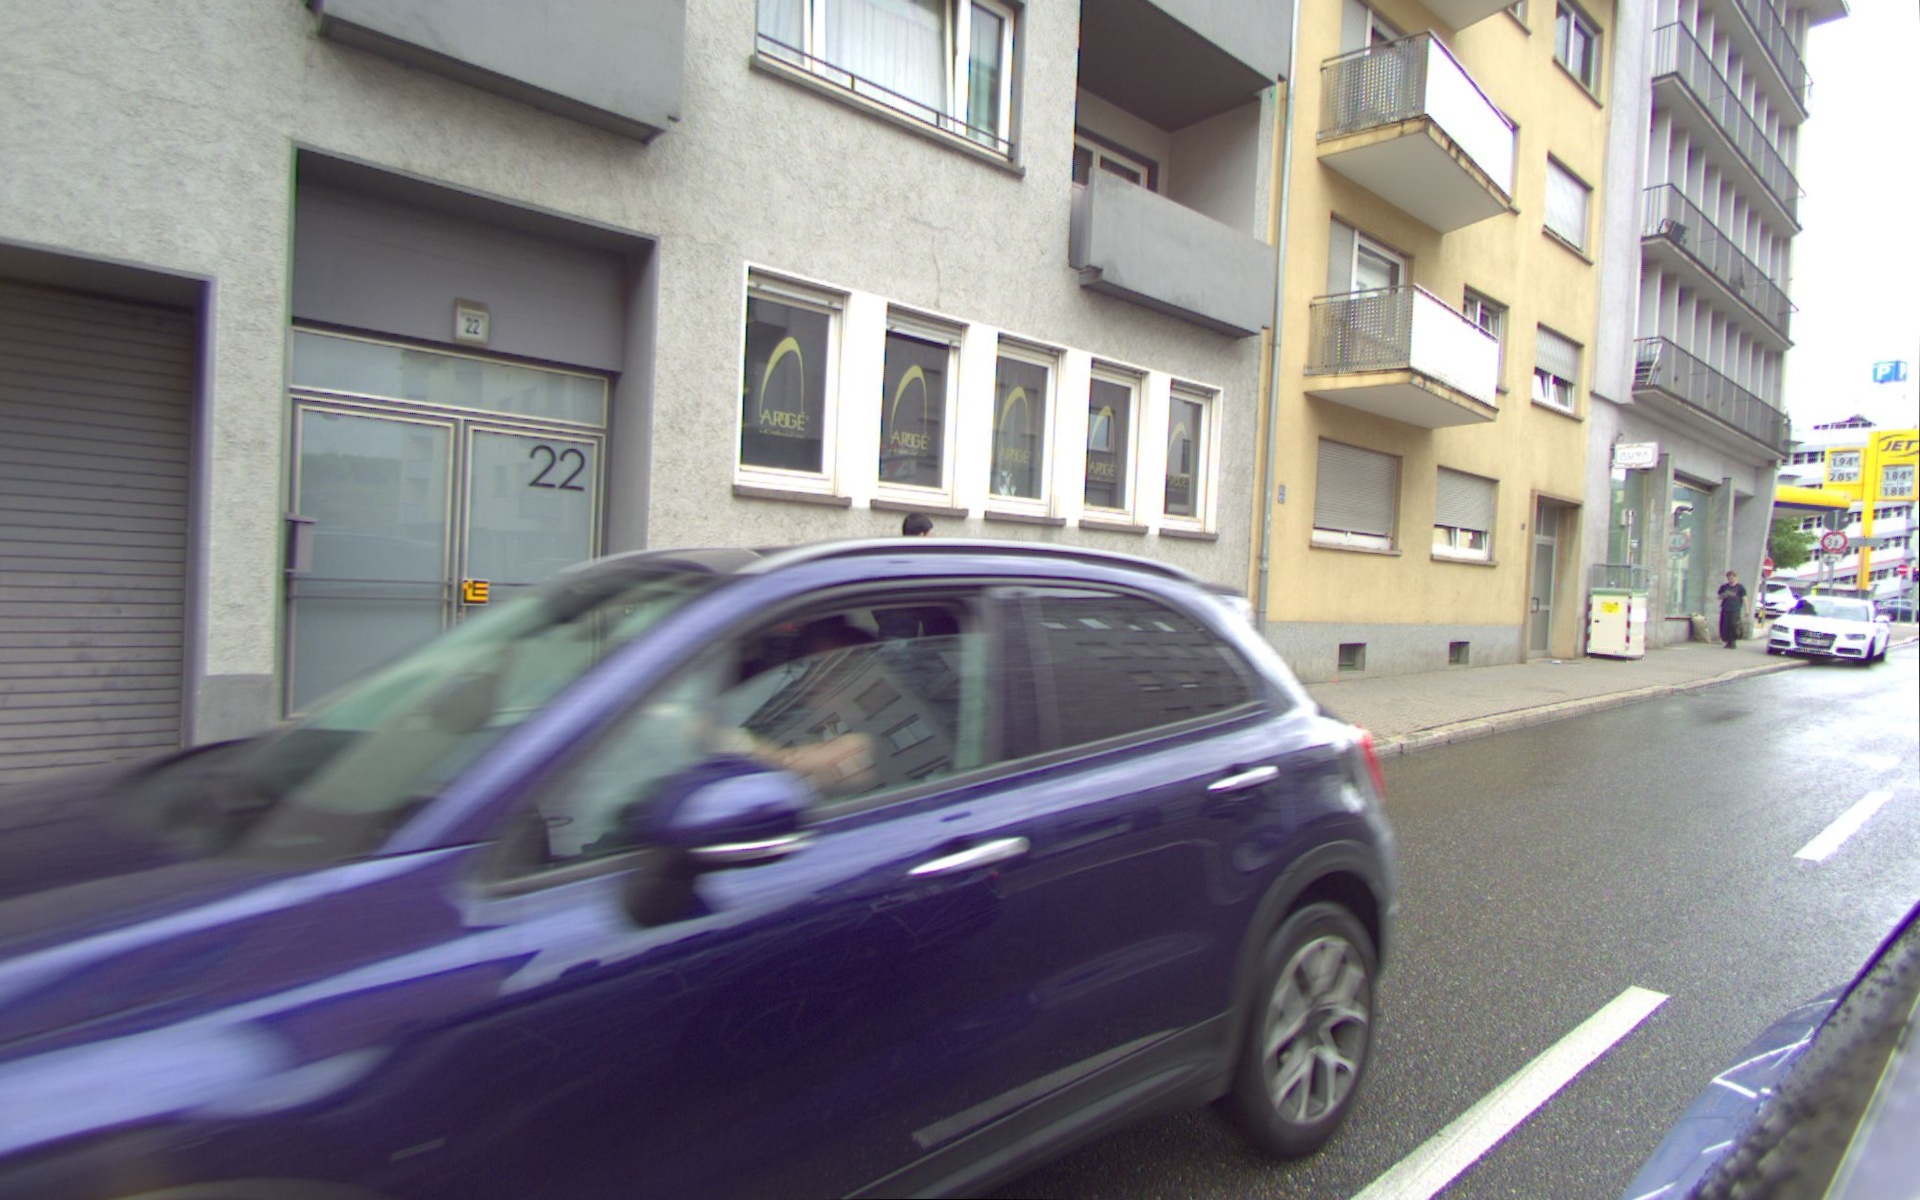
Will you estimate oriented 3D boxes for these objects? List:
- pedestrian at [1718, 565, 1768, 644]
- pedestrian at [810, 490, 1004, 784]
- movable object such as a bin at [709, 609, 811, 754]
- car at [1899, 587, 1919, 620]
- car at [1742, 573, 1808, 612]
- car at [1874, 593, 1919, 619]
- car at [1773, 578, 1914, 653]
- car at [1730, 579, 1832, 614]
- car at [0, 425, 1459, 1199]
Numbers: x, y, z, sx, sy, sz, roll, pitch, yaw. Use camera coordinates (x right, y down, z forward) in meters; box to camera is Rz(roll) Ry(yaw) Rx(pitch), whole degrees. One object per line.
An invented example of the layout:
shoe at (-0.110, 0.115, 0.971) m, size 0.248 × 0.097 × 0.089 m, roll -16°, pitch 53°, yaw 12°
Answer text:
pedestrian at (18.346, 0.094, 23.706) m, size 0.872 × 1.777 × 0.679 m, roll 0°, pitch 2°, yaw -39°
pedestrian at (-0.348, 0.204, 6.754) m, size 1.038 × 1.799 × 0.644 m, roll 0°, pitch 5°, yaw -41°
movable object such as a bin at (-1.473, 0.576, 7.449) m, size 0.506 × 0.967 × 0.541 m, roll 0°, pitch 5°, yaw -40°
car at (54.034, 0.289, 54.989) m, size 1.960 × 1.782 × 4.005 m, roll 1°, pitch 3°, yaw -31°
car at (33.089, -0.304, 41.060) m, size 1.766 × 1.493 × 3.937 m, roll 0°, pitch 0°, yaw 43°
car at (62.587, 0.446, 66.032) m, size 3.956 × 1.526 × 1.725 m, roll 3°, pitch 2°, yaw 23°
car at (20.125, 0.296, 23.005) m, size 4.093 × 1.453 × 1.803 m, roll 0°, pitch 4°, yaw -41°
car at (43.369, -0.164, 53.504) m, size 1.869 × 1.737 × 3.925 m, roll 0°, pitch -1°, yaw -41°
car at (-0.563, 0.606, 2.442) m, size 3.930 × 1.600 × 1.770 m, roll 0°, pitch 2°, yaw -41°
